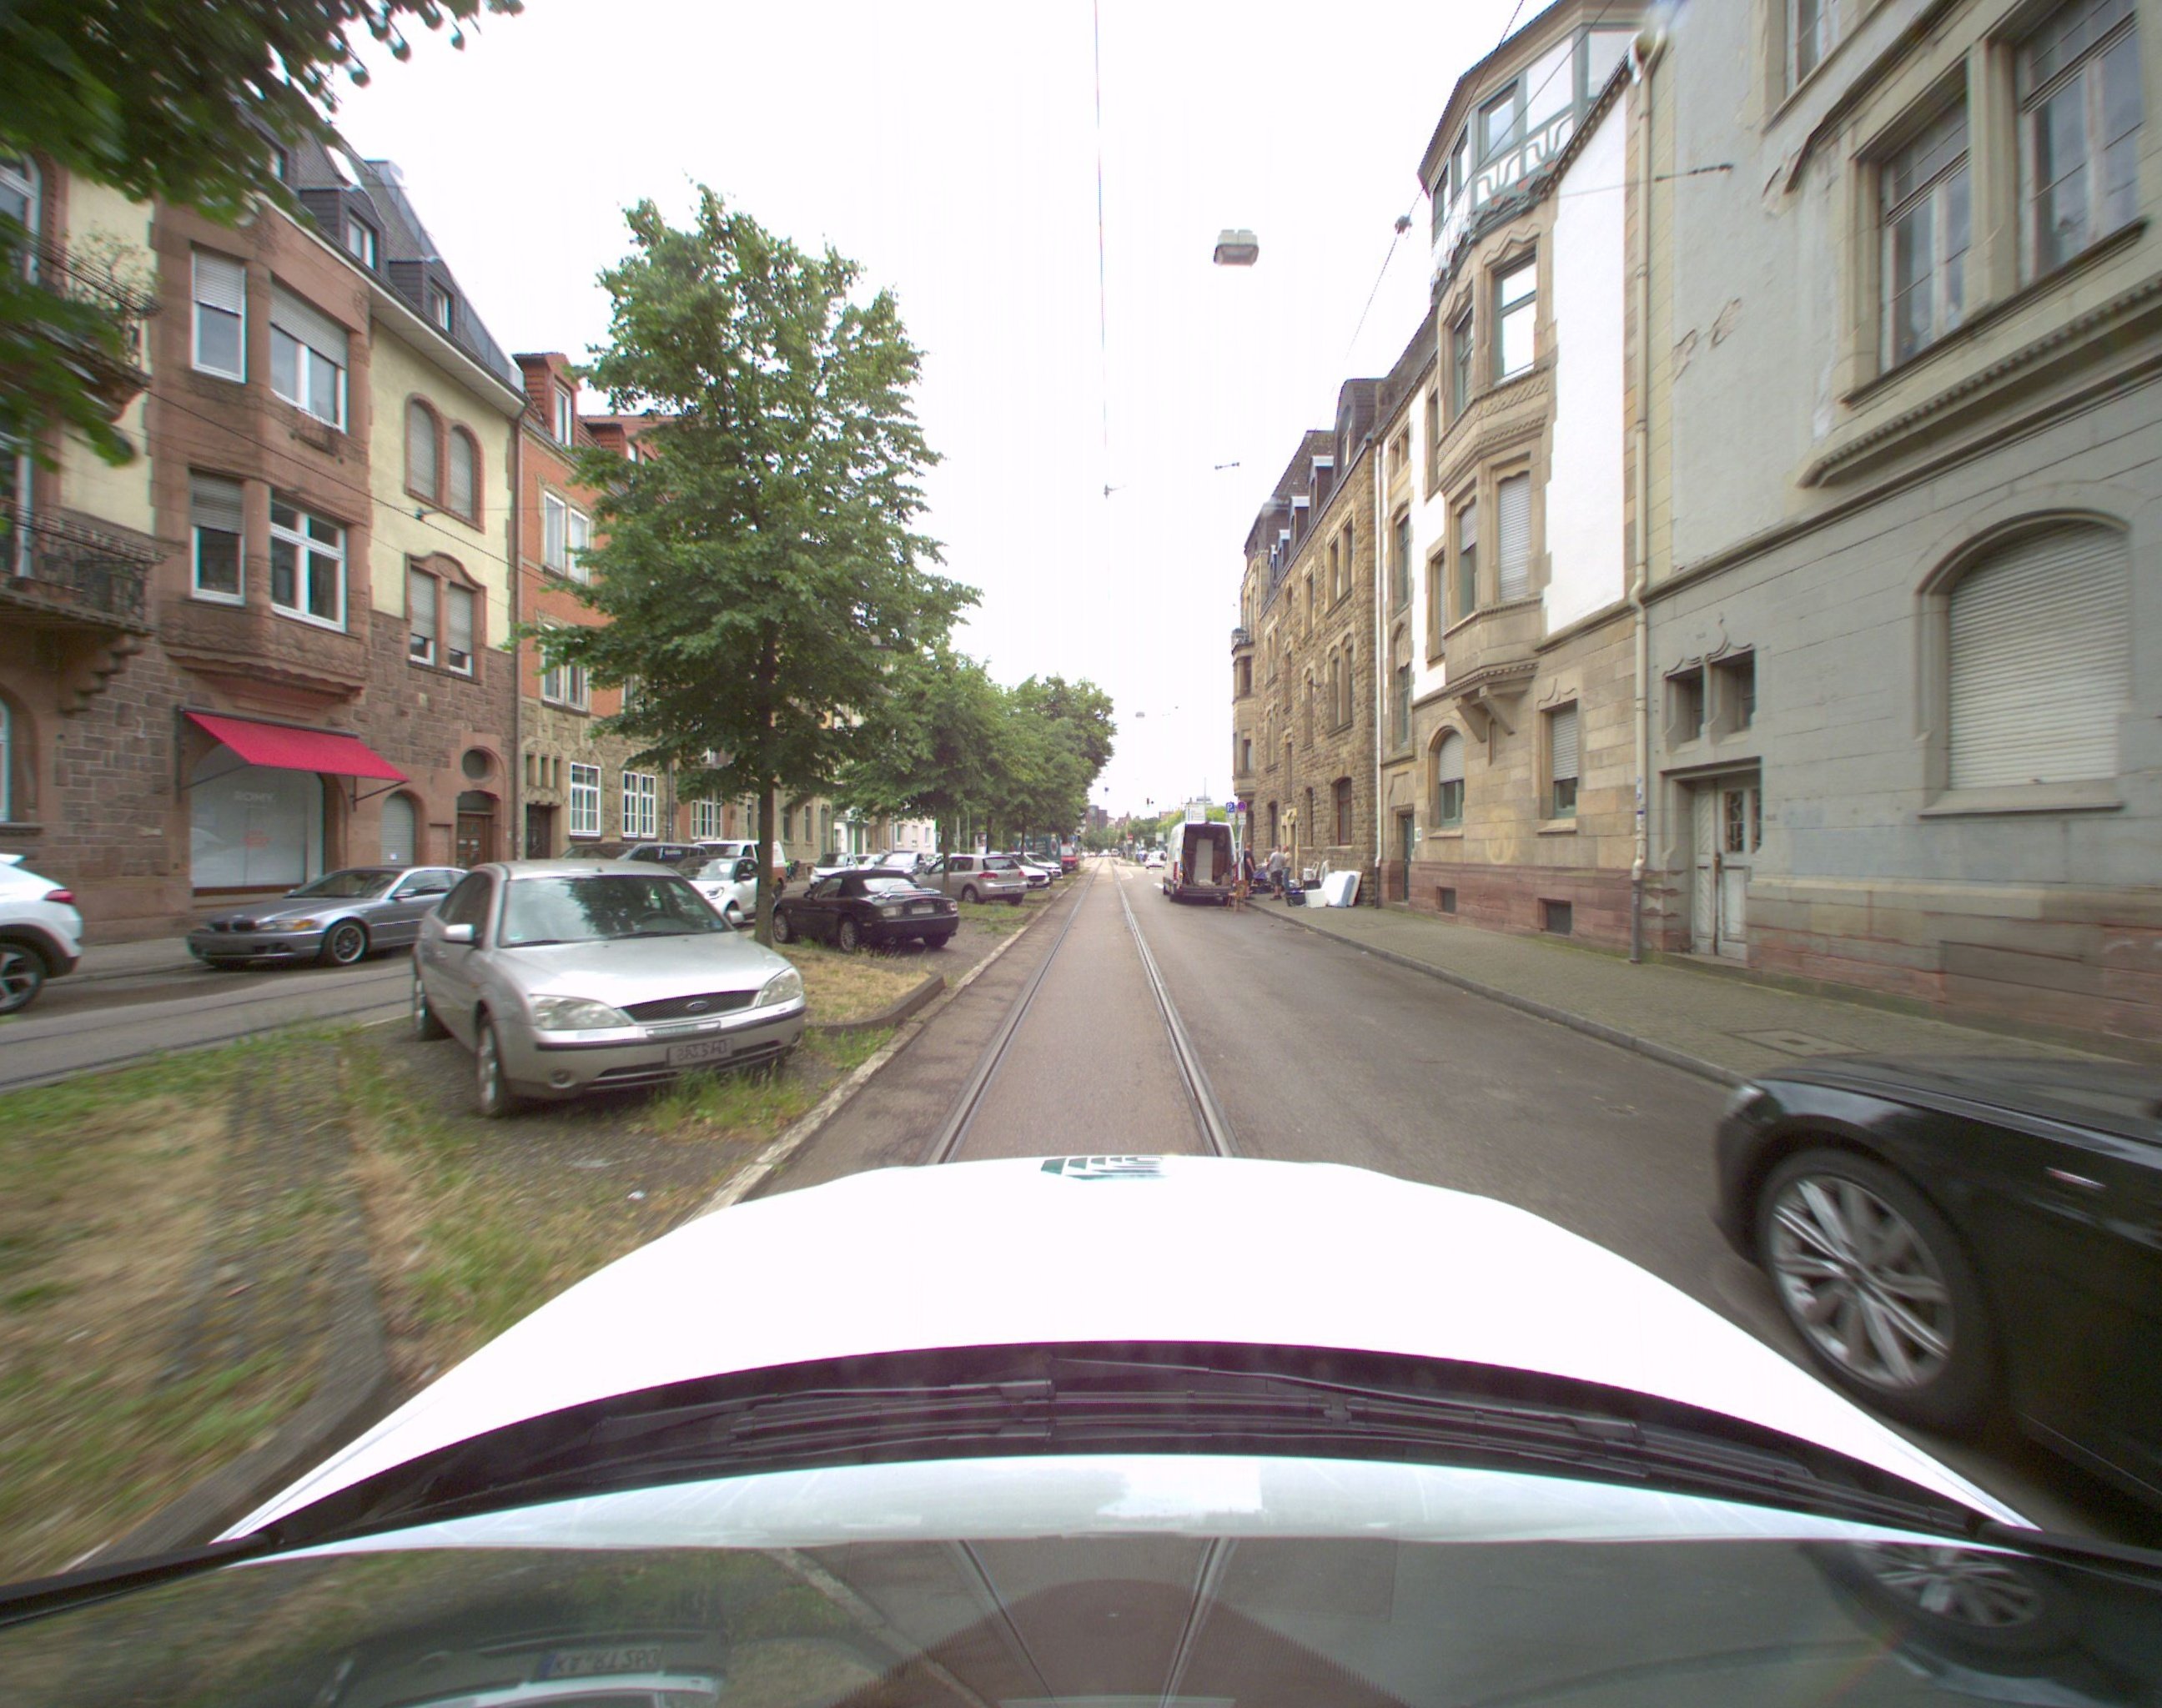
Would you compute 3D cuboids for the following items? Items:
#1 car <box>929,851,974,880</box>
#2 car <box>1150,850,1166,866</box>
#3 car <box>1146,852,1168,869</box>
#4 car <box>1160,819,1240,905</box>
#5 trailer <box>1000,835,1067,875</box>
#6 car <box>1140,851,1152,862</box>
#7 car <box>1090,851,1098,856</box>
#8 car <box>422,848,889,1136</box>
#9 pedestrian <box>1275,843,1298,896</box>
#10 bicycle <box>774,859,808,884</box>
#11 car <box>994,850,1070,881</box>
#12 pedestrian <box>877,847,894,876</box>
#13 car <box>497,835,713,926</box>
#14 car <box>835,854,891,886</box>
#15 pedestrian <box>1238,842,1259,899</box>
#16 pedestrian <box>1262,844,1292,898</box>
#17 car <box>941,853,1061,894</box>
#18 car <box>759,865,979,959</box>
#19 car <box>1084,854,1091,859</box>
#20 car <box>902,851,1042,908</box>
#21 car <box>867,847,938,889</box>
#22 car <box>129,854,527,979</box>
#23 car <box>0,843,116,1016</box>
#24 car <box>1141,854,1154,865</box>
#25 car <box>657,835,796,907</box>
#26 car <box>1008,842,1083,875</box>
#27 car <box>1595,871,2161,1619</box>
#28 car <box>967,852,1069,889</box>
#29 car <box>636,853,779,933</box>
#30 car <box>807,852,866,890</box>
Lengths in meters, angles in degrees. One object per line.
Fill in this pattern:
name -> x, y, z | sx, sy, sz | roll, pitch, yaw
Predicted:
car -> -6.993, 0.596, 44.493 | 1.638, 1.504, 4.623 | 0, 0, 1
car -> 9.582, 0.525, 101.312 | 1.775, 1.962, 4.386 | 0, 0, 3
car -> 6.881, 0.548, 73.690 | 1.772, 1.472, 4.019 | 0, 0, 8
car -> 3.929, 0.226, 28.097 | 2.005, 2.548, 7.021 | 2, 0, 3
trailer -> -2.899, 0.071, 49.305 | 3.624, 2.344, 1.943 | 0, 0, 34
car -> 11.909, 0.426, 149.661 | 2.171, 2.033, 4.386 | 0, 0, 4
car -> 4.021, -0.093, 251.880 | 1.760, 1.493, 3.895 | 0, 0, 8
car -> -3.480, 0.647, 6.120 | 4.610, 1.368, 1.768 | 0, 0, 44
pedestrian -> 6.787, 0.497, 26.928 | 0.507, 1.717, 0.579 | -2, 0, -8
bicycle -> -13.280, 0.780, 37.340 | 0.708, 1.072, 2.259 | 0, 0, 0
car -> -2.528, 0.547, 41.363 | 3.815, 1.463, 1.700 | 0, 0, 44
pedestrian -> -11.987, 0.463, 49.846 | 0.795, 1.766, 0.900 | 0, 0, 1
car -> -10.486, 0.527, 18.521 | 1.807, 1.781, 5.118 | 0, 0, 1
car -> -10.382, 0.742, 39.040 | 1.629, 1.443, 3.923 | 0, 0, 0
pedestrian -> 5.528, 0.533, 26.875 | 0.497, 1.815, 0.803 | -2, 0, 3
pedestrian -> 6.281, 0.544, 26.115 | 0.706, 1.700, 0.489 | -2, 0, -26
car -> -3.134, 0.686, 31.161 | 4.629, 1.435, 1.910 | 0, 0, 41
car -> -3.512, 0.812, 13.064 | 1.678, 1.202, 3.914 | 0, 0, -45
car -> 1.730, 0.620, 219.441 | 1.755, 1.387, 4.003 | 0, 0, 3
car -> -3.212, 0.673, 23.450 | 4.066, 1.484, 1.808 | 0, 0, 42
car -> -7.138, 0.536, 33.070 | 1.798, 1.579, 4.547 | 0, 0, 1
car -> -10.888, 0.781, 12.382 | 1.734, 1.542, 4.555 | 0, 0, 1
car -> -11.085, 0.705, 6.296 | 1.734, 1.626, 4.555 | 0, 0, 1
car -> 10.533, 0.797, 128.945 | 1.775, 1.679, 4.384 | 0, 0, 2
car -> -10.585, 0.472, 24.811 | 1.874, 1.952, 5.095 | 0, 0, 1
car -> -2.295, 0.271, 52.242 | 4.707, 1.974, 1.972 | 0, 0, 40
car -> 3.038, 0.816, 0.883 | 1.794, 1.438, 5.197 | 0, 0, 1
car -> -2.701, 0.642, 34.215 | 4.286, 1.435, 1.910 | 0, 0, 44
car -> -7.667, 0.749, 17.009 | 1.598, 1.514, 2.893 | 0, 0, 1
car -> -10.401, 0.673, 34.812 | 1.629, 1.550, 2.951 | 0, 0, 0
